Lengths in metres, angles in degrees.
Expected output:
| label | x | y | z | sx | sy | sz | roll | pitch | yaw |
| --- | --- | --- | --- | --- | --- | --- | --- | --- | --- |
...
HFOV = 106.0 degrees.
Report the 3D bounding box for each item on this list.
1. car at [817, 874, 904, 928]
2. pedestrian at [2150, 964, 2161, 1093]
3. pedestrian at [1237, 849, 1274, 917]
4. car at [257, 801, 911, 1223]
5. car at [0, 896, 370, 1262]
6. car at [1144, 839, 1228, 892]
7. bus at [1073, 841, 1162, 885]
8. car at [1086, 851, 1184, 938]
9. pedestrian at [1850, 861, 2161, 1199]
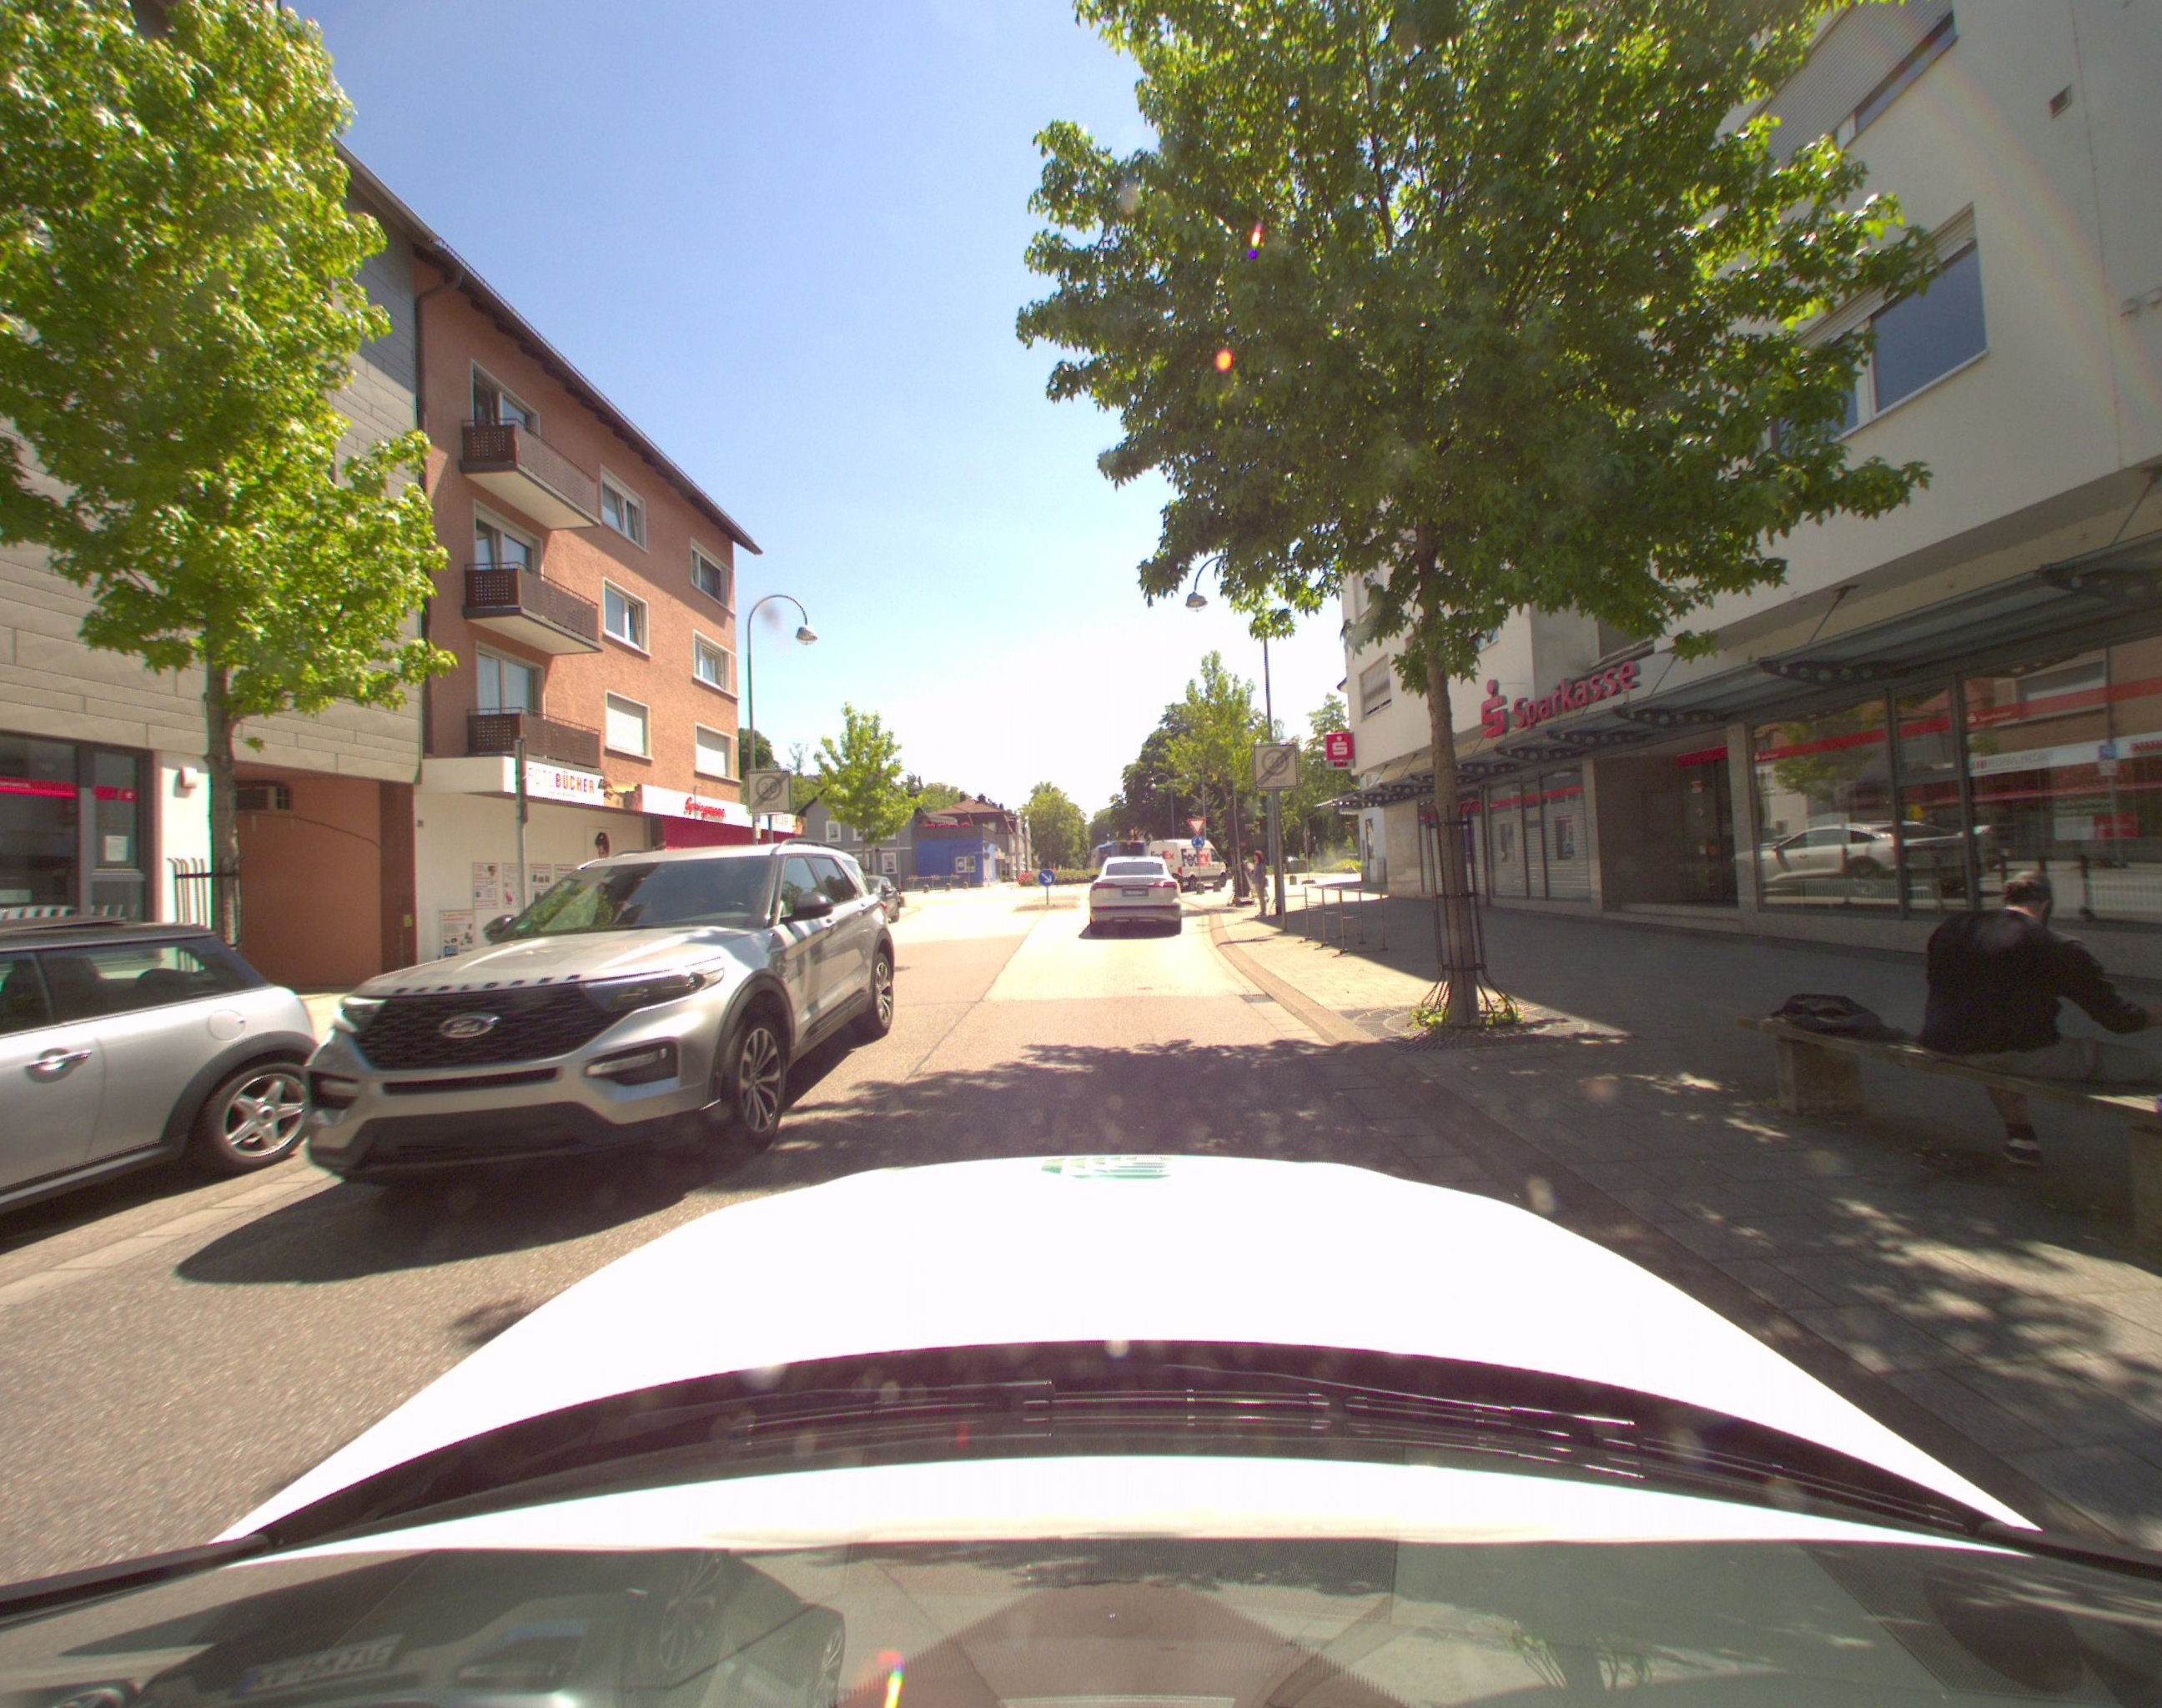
| label | x | y | z | sx | sy | sz | roll | pitch | yaw |
| --- | --- | --- | --- | --- | --- | --- | --- | --- | --- |
| car | -6.659 | 1.361 | 25.015 | 1.662 | 1.486 | 4.057 | 0 | -1 | -2 |
| pedestrian | 4.443 | 0.834 | 2.817 | 0.672 | 0.852 | 0.540 | -4 | -1 | 16 |
| pedestrian | 4.271 | 0.694 | 19.957 | 0.729 | 1.610 | 0.560 | -3 | -1 | 3 |
| car | -2.681 | 0.723 | 5.972 | 1.895 | 1.754 | 4.753 | -3 | -1 | -1 |
| car | -5.387 | 1.015 | 3.394 | 1.615 | 1.473 | 3.550 | -3 | -1 | 2 |
| car | 5.510 | 0.545 | 41.972 | 1.974 | 2.481 | 5.519 | -3 | -1 | 33 |
| bus | 2.634 | 0.849 | 68.428 | 3.706 | 3.171 | 18.005 | 0 | -1 | -10 |
| car | 1.143 | 0.822 | 18.200 | 1.891 | 1.662 | 4.411 | -1 | -1 | 2 |
| pedestrian | 3.833 | 0.672 | 3.346 | 0.754 | 1.240 | 0.540 | -4 | -1 | 16 |
